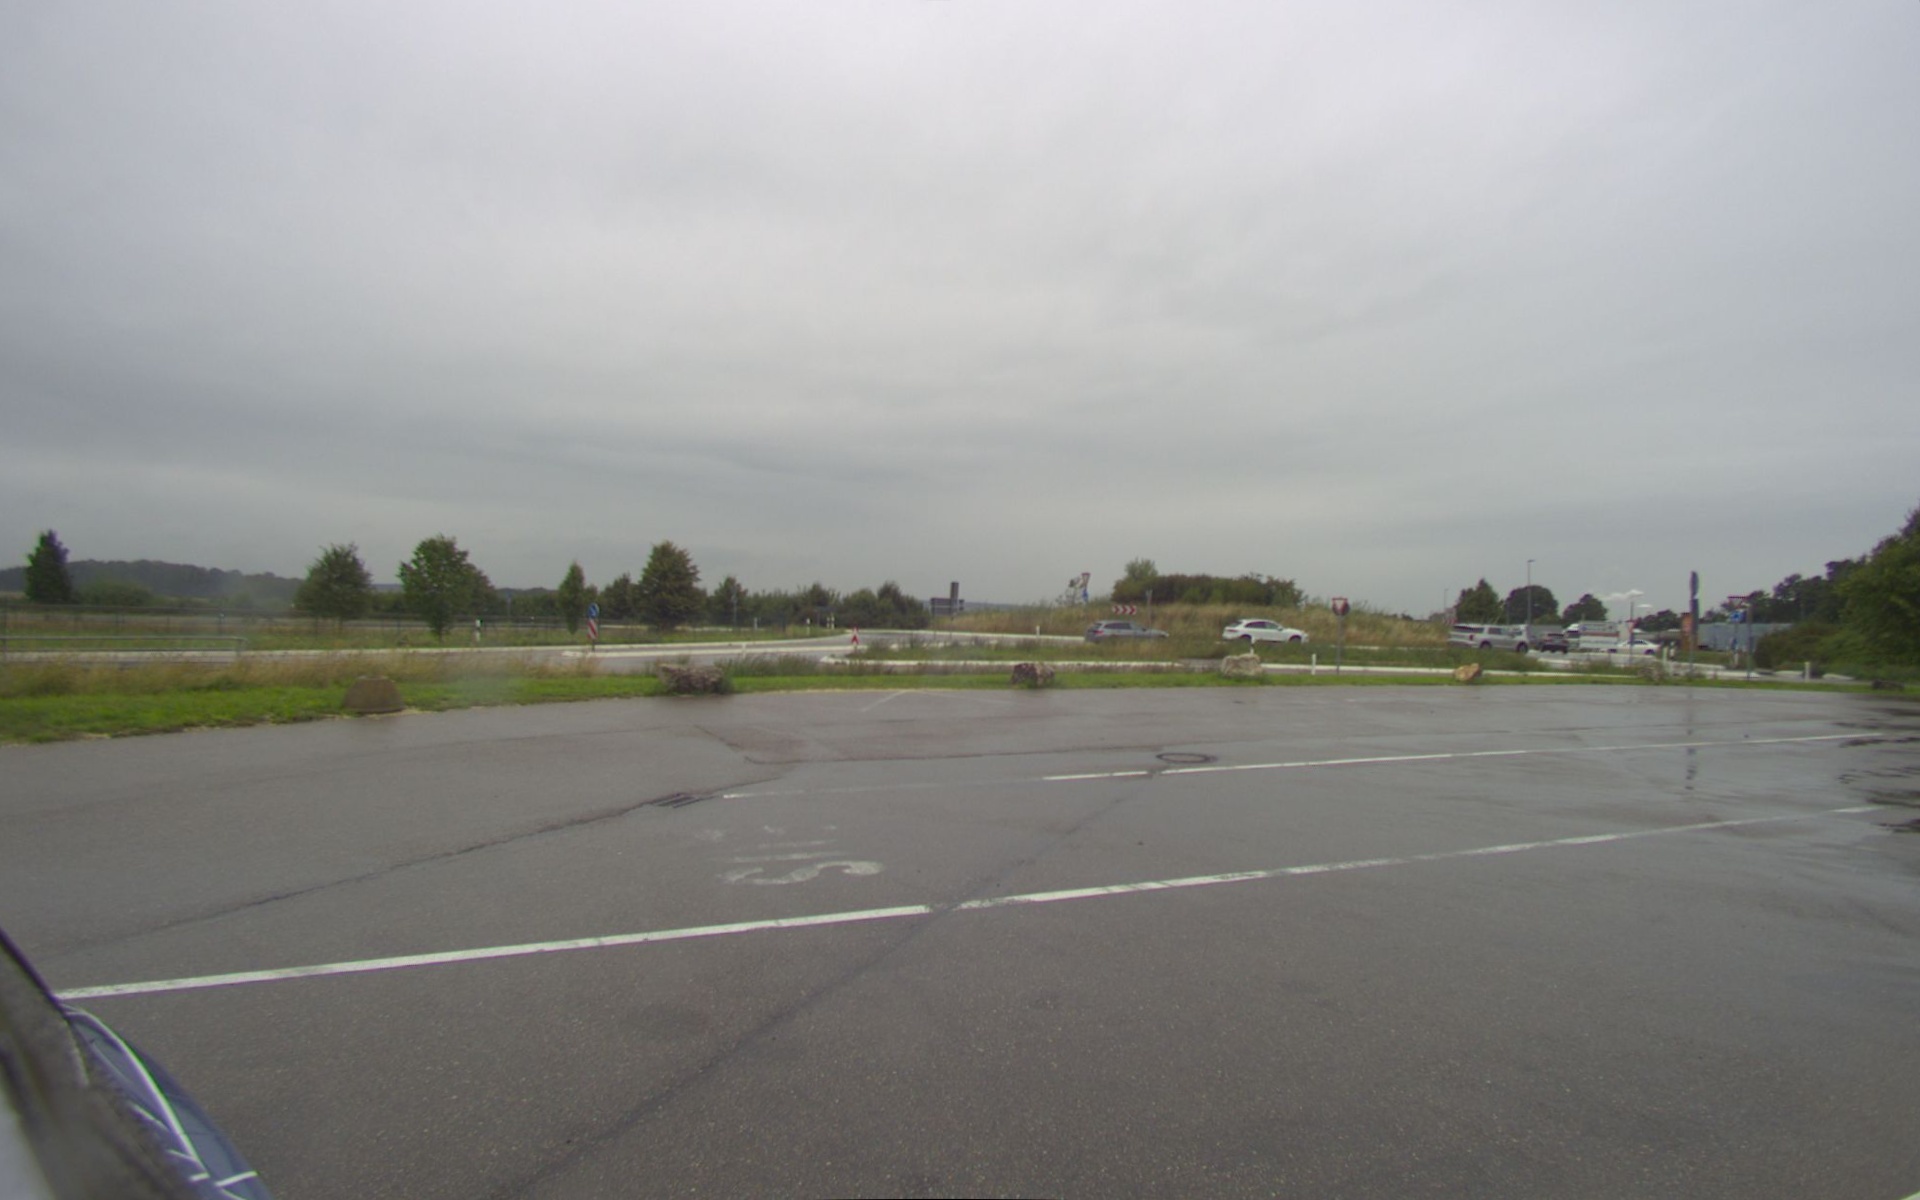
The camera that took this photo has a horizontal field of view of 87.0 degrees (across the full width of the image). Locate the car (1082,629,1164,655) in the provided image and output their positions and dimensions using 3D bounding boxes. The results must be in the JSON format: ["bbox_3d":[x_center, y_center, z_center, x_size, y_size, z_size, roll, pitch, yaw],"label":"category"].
[{"bbox_3d":[8.764,2.234,54.334,3.975,1.336,1.698,1,-2,-15],"label":"car"}]

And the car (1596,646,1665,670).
[{"bbox_3d":[54.782,4.745,82.754,4.311,1.772,1.746,1,-2,5],"label":"car"}]

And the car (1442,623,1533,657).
[{"bbox_3d":[30.197,2.276,57.949,4.565,1.887,2.006,1,-2,-19],"label":"car"}]

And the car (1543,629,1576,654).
[{"bbox_3d":[45.226,3.127,76.339,1.713,1.830,3.668,-1,-2,38],"label":"car"}]

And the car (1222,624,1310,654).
[{"bbox_3d":[16.885,2.135,56.032,4.325,1.596,1.693,1,-2,1],"label":"car"}]
